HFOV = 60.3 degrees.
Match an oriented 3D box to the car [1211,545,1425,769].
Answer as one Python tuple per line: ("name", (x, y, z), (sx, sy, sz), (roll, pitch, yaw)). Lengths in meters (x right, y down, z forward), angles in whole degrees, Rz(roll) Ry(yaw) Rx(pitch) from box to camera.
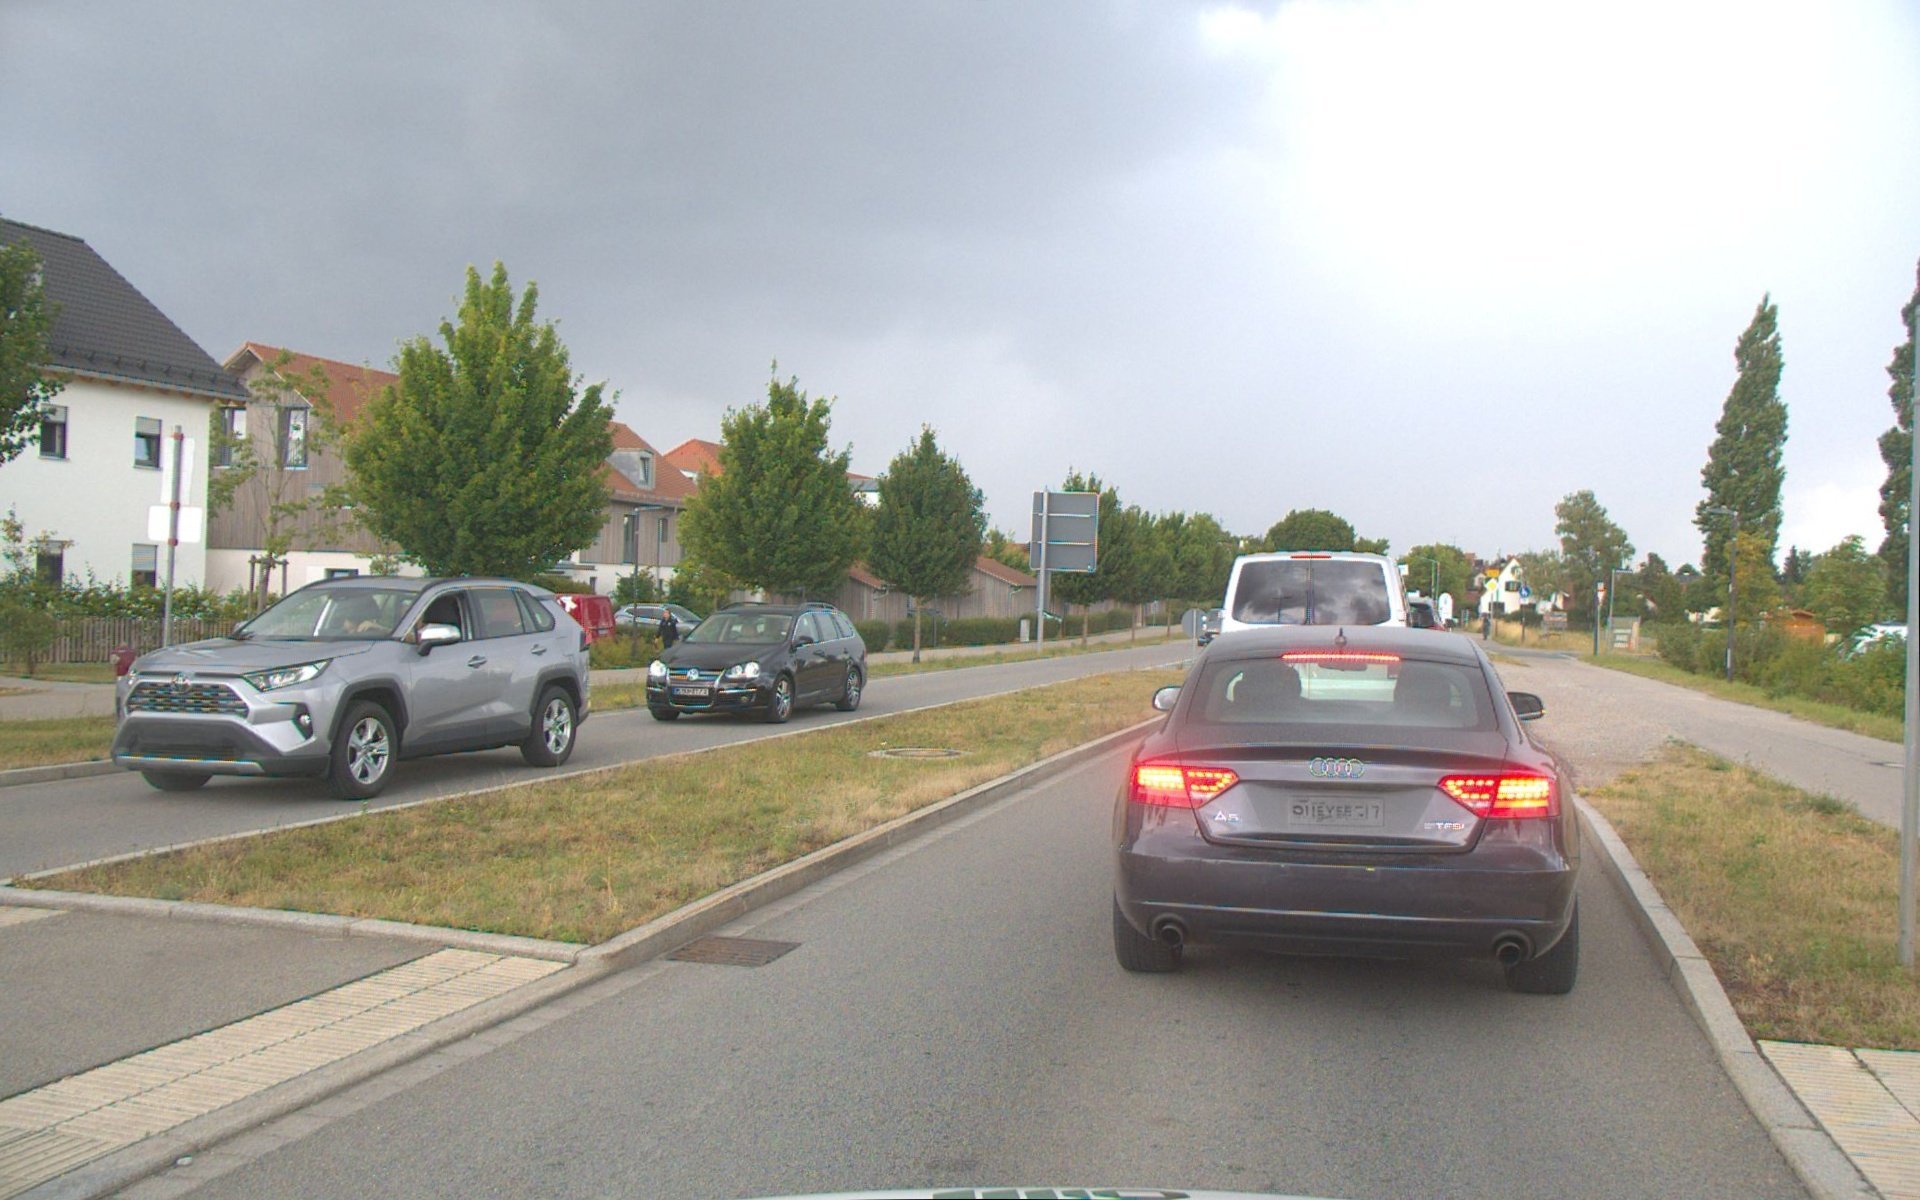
("car", (3.661, 0.530, 16.821), (1.827, 1.968, 4.003), (-2, -1, 13))

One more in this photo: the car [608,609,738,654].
("car", (-9.515, 1.036, 54.934), (3.831, 1.338, 1.844), (2, 0, 13))

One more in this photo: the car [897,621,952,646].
("car", (-1.670, 1.579, 78.583), (2.419, 1.046, 1.186), (2, 0, 10))

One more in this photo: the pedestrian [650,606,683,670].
("pedestrian", (-7.463, 0.965, 42.112), (0.569, 1.586, 0.660), (2, 0, 14))

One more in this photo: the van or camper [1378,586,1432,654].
("van or camper", (23.811, 1.093, 88.632), (2.569, 3.382, 6.825), (2, -1, 15))

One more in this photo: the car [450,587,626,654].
("car", (-11.920, 0.561, 46.778), (4.436, 1.709, 2.001), (2, 0, 19))

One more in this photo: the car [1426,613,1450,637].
("car", (34.241, 1.774, 118.428), (1.579, 1.659, 3.618), (2, 0, 16))

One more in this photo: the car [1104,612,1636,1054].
("car", (1.835, 0.777, 7.609), (1.746, 1.416, 4.136), (0, 0, 13))

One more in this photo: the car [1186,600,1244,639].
("car", (10.184, 0.789, 65.743), (1.694, 1.434, 4.208), (2, 0, 16))

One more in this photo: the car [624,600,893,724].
("car", (-2.488, 0.752, 21.645), (1.717, 1.441, 4.457), (-1, -1, 19))

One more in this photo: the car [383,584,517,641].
("car", (-17.165, 0.440, 55.914), (1.952, 1.803, 4.466), (2, 0, 20))

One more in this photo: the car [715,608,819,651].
("car", (-7.521, 1.142, 64.540), (3.650, 1.508, 1.688), (2, 0, 13))

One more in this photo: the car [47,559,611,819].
("car", (-4.823, 0.602, 13.529), (1.951, 1.733, 4.638), (0, 0, 15))

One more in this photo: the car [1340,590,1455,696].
("car", (7.580, 0.704, 28.650), (1.739, 1.646, 4.003), (2, 0, 15))

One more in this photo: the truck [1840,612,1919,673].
("truck", (32.073, 1.470, 54.843), (4.694, 1.905, 2.002), (2, 0, 11))

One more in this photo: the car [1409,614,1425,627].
("car", (49.086, 2.168, 177.505), (1.579, 1.294, 3.463), (2, 0, 16))
